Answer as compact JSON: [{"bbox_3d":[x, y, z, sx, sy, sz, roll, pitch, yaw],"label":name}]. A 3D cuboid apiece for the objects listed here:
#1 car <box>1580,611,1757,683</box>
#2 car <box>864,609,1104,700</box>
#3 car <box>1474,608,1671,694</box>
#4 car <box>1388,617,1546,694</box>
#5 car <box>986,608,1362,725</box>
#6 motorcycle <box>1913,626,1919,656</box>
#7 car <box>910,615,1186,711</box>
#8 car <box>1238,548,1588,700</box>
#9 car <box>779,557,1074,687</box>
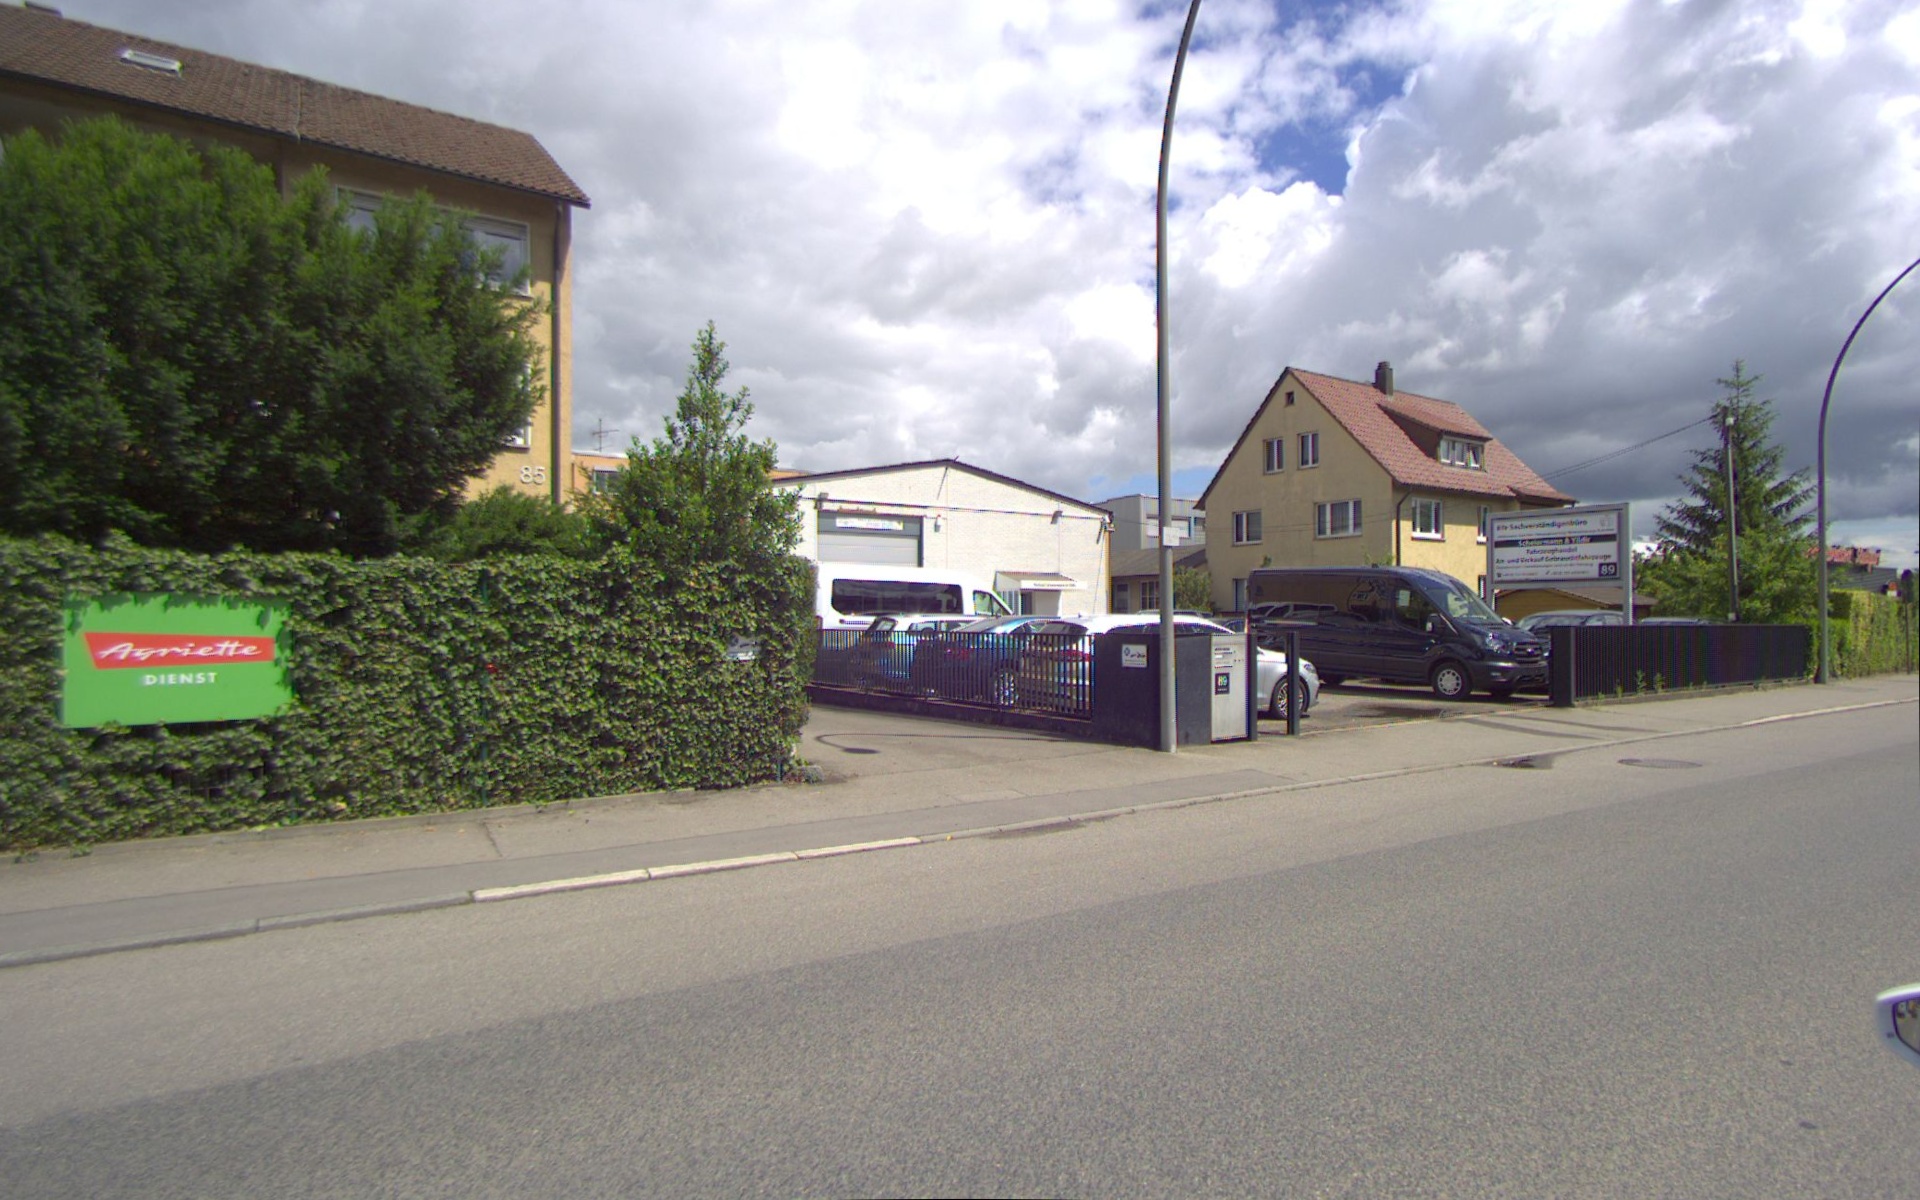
[{"bbox_3d":[16.506,1.037,23.355,4.226,1.526,2.139,1,-2,-36],"label":"car"},{"bbox_3d":[0.457,1.006,19.392,4.267,1.598,1.842,0,-1,-22],"label":"car"},{"bbox_3d":[12.745,0.999,20.835,4.243,1.616,2.018,1,-2,-36],"label":"car"},{"bbox_3d":[11.737,1.225,23.178,3.965,1.639,1.762,1,-2,-39],"label":"car"},{"bbox_3d":[3.181,0.903,14.874,5.263,1.505,1.990,1,-1,-22],"label":"car"},{"bbox_3d":[40.969,1.726,41.309,0.910,1.234,2.504,1,-1,-10],"label":"motorcycle"},{"bbox_3d":[1.465,0.996,16.863,4.267,1.445,1.842,0,-1,-22],"label":"car"},{"bbox_3d":[8.671,0.477,19.967,2.450,2.529,6.004,1,-2,-32],"label":"car"},{"bbox_3d":[-0.676,0.521,21.998,6.063,2.528,2.401,1,-3,-30],"label":"car"}]
